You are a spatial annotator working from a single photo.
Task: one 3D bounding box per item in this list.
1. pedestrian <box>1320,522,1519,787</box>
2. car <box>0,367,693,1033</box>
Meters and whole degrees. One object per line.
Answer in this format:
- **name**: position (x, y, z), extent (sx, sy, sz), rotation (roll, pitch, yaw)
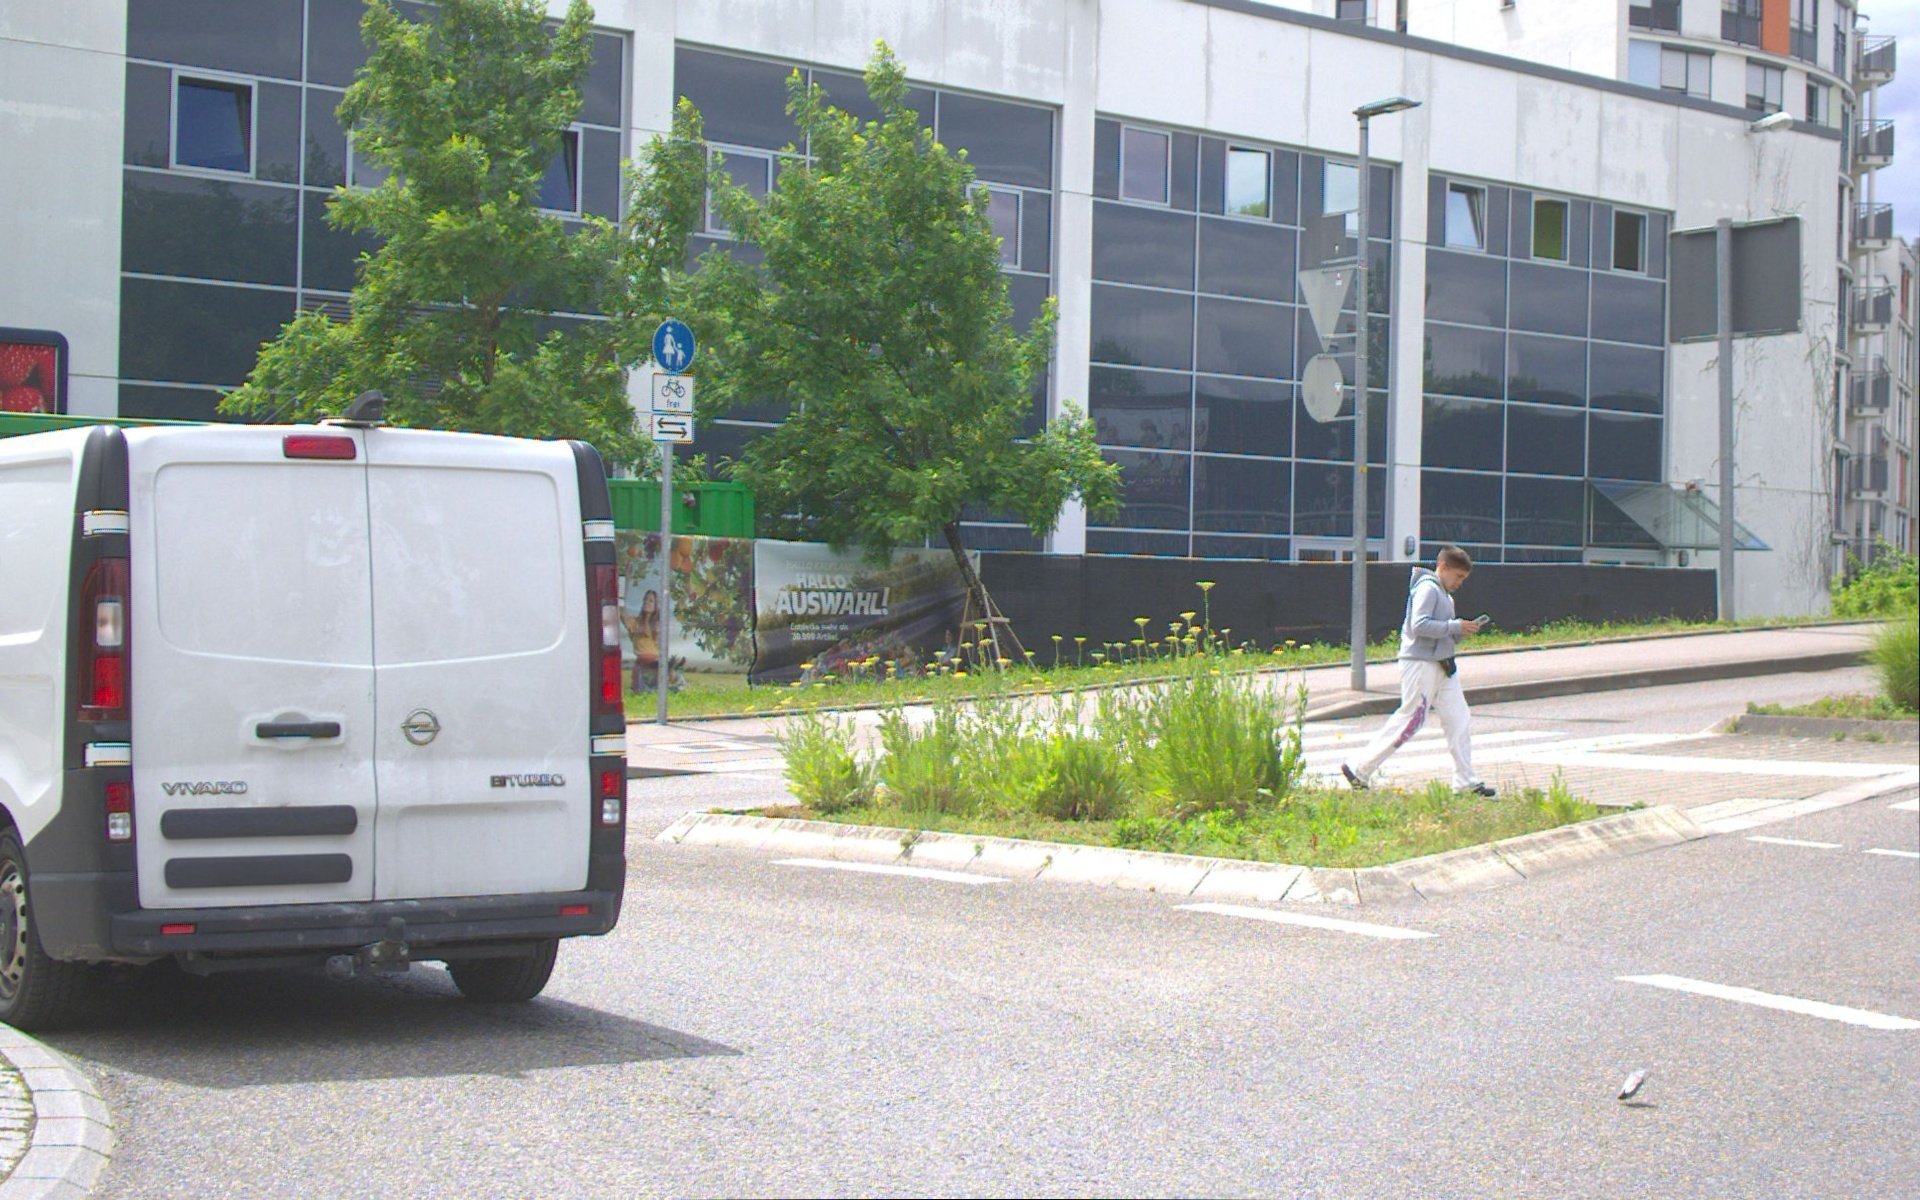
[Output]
- **pedestrian**: position (2.788, 0.331, 20.956), extent (1.034, 1.536, 0.895), rotation (3, -1, 1)
- **car**: position (-3.035, 0.306, 12.677), extent (2.034, 1.939, 4.994), rotation (3, -1, -30)
